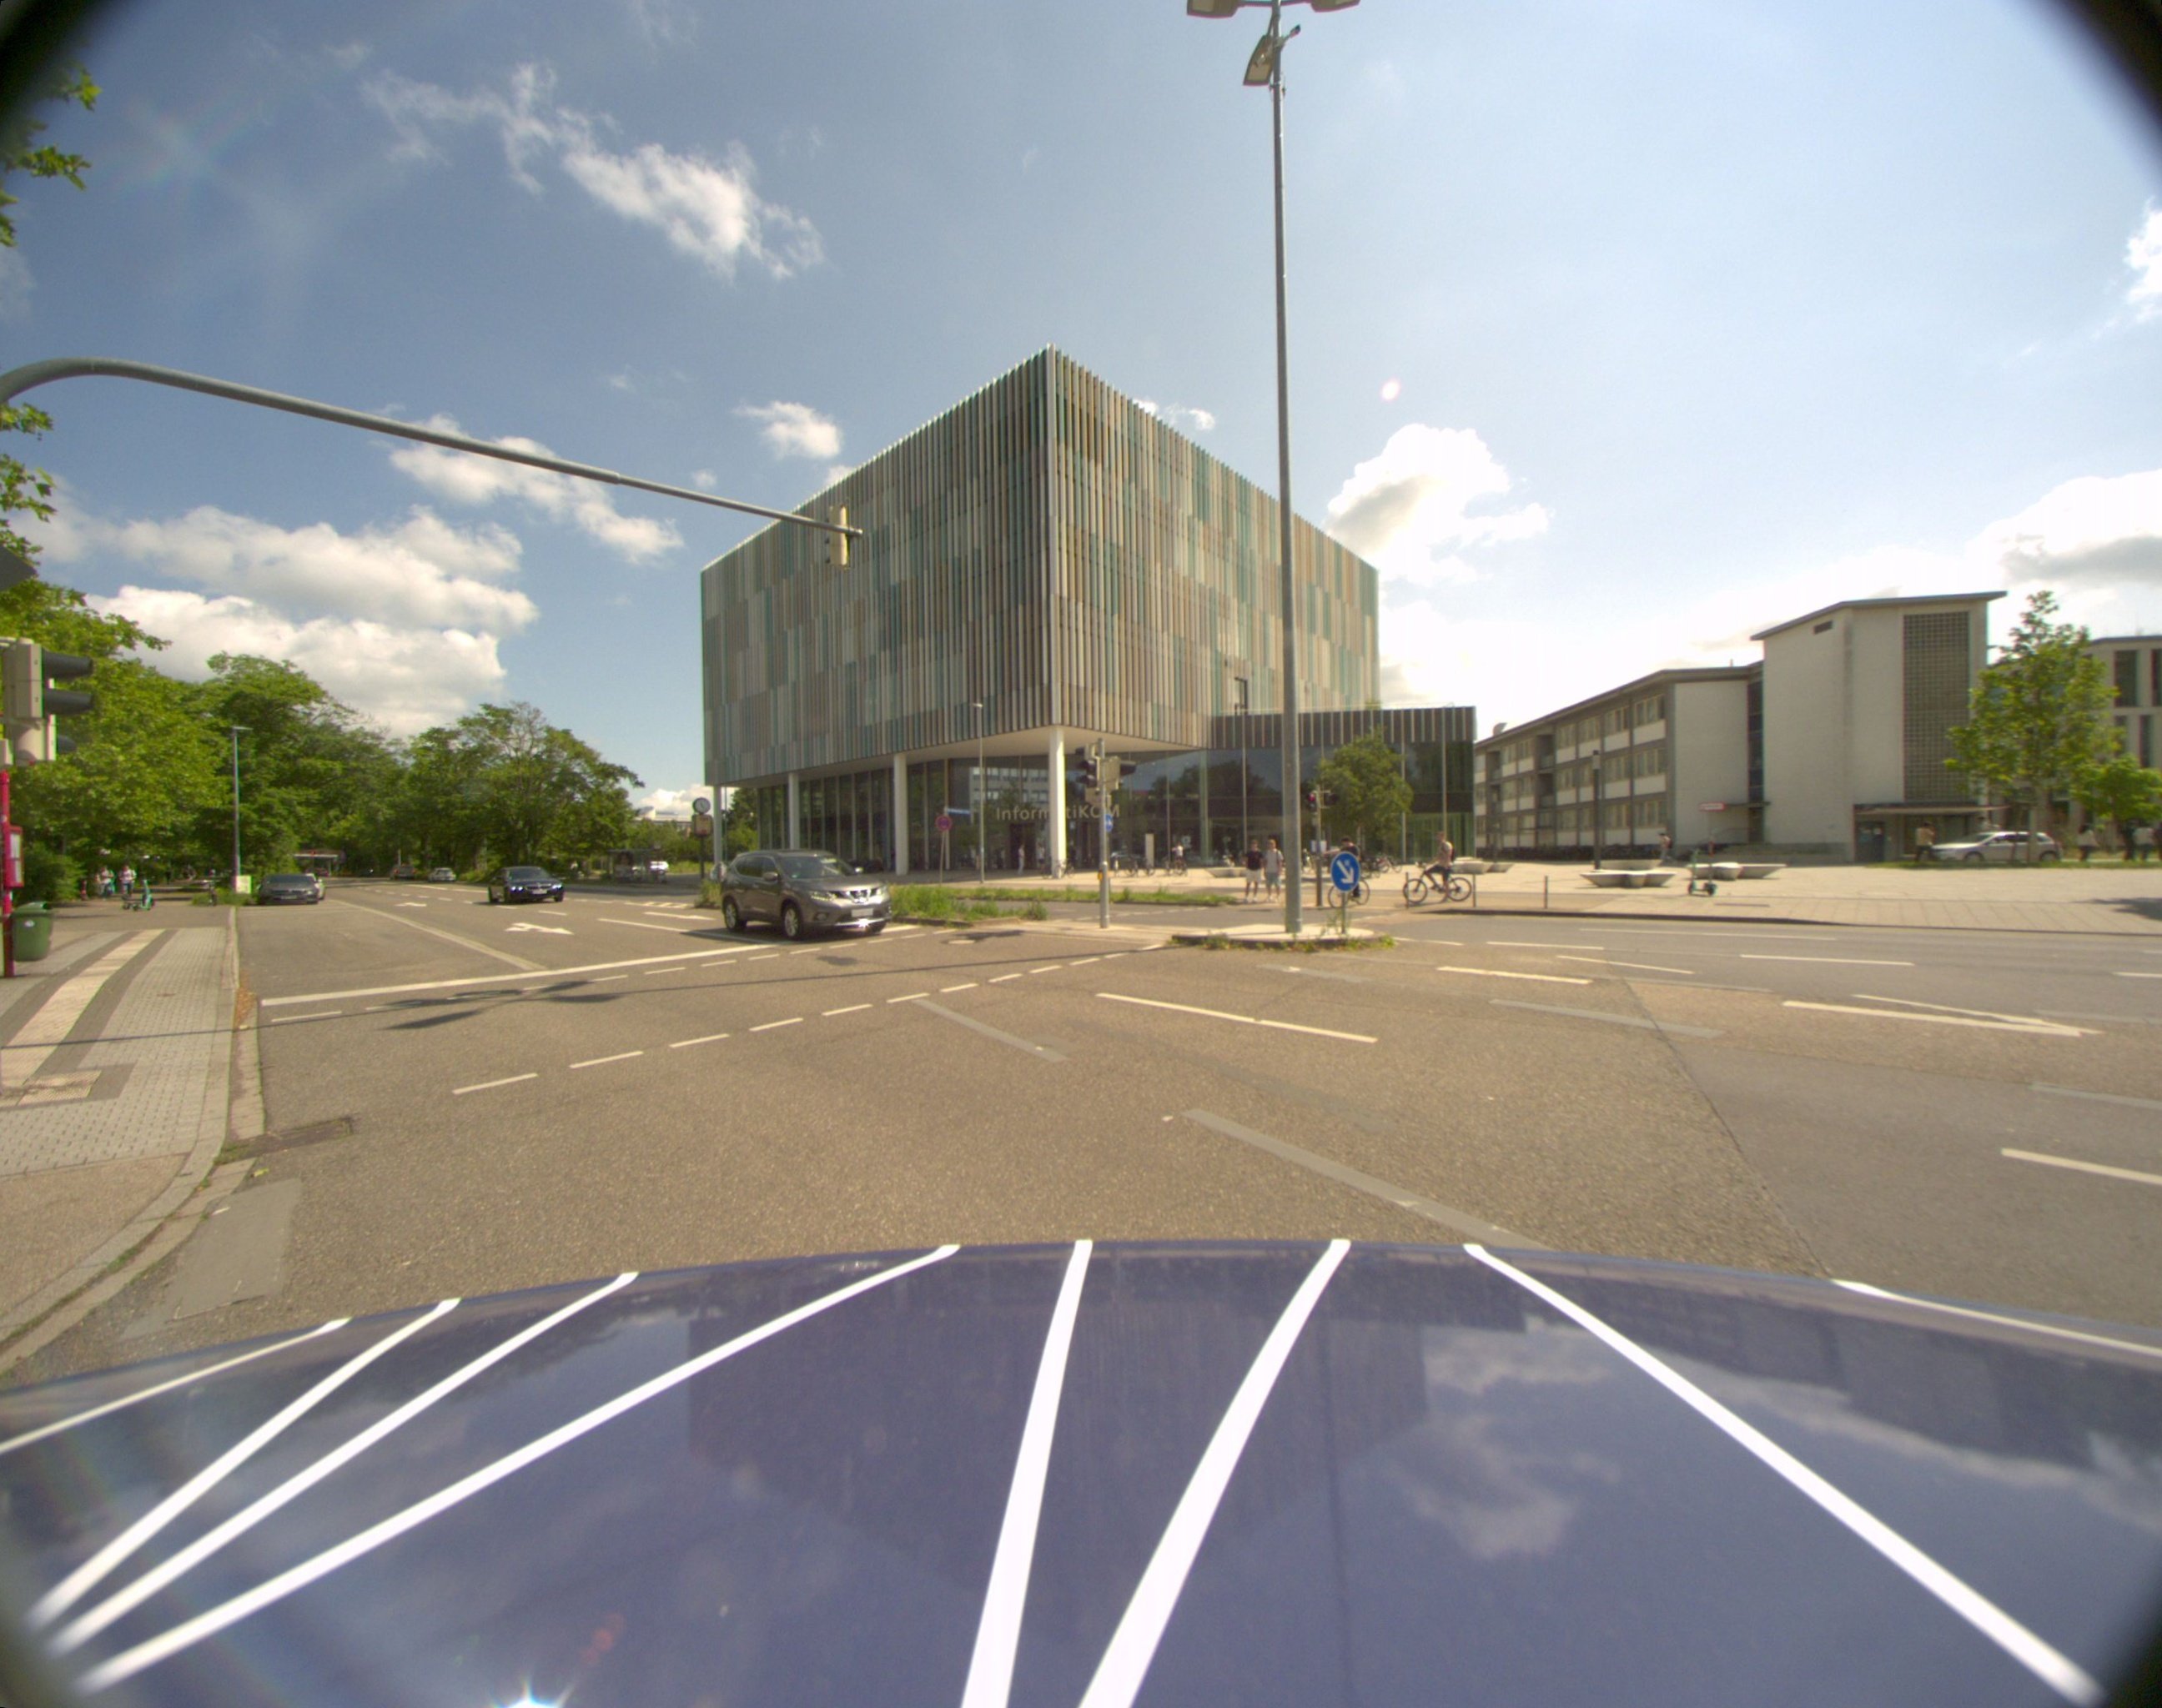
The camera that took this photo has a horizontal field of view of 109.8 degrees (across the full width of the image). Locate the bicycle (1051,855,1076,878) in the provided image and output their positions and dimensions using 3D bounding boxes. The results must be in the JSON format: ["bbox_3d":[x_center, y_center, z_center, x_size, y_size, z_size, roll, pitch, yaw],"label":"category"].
[{"bbox_3d":[-0.909,0.654,40.503,0.372,1.181,1.549,1,3,41],"label":"bicycle"}]

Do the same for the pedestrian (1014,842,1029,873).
[{"bbox_3d":[-3.560,0.212,45.758,0.789,1.831,0.516,-2,2,-13],"label":"pedestrian"}]

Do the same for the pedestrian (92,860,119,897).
[{"bbox_3d":[-47.879,1.205,37.292,0.789,1.771,0.685,0,3,36],"label":"pedestrian"}]

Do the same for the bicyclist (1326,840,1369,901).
[{"bbox_3d":[7.129,0.439,20.331,0.997,1.606,0.658,-1,1,13],"label":"bicyclist"}]

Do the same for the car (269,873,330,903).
[{"bbox_3d":[-39.883,1.693,38.884,1.747,1.442,4.928,1,-1,-41],"label":"car"}]

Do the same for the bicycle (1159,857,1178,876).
[{"bbox_3d":[4.654,0.667,40.159,0.528,0.950,1.776,0,1,22],"label":"bicycle"}]

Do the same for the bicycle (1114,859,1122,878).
[{"bbox_3d":[1.956,0.743,40.058,0.373,0.950,1.546,-1,1,4],"label":"bicycle"}]

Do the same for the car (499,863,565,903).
[{"bbox_3d":[-21.917,1.109,30.284,1.834,1.408,4.179,-2,1,-39],"label":"car"}]

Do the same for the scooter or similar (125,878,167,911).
[{"bbox_3d":[-34.013,1.456,27.670,0.531,1.162,1.571,0,-1,-34],"label":"scooter or similar"}]

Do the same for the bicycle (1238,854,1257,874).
[{"bbox_3d":[8.702,0.515,39.703,0.529,0.950,1.773,-4,1,-1],"label":"bicycle"}]

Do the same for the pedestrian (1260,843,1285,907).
[{"bbox_3d":[5.538,0.604,21.988,0.574,1.831,0.416,0,2,37],"label":"pedestrian"}]

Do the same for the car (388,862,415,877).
[{"bbox_3d":[-84.399,1.886,94.360,4.718,1.801,1.908,-1,0,40],"label":"car"}]

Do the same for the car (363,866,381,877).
[{"bbox_3d":[-110.134,2.716,118.036,1.903,1.502,3.817,-4,3,-42],"label":"car"}]

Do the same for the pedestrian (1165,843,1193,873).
[{"bbox_3d":[5.417,0.224,41.828,1.012,1.641,1.185,0,1,43],"label":"pedestrian"}]

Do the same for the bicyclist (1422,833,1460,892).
[{"bbox_3d":[9.423,0.219,19.908,0.784,1.529,0.658,-1,1,18],"label":"bicyclist"}]

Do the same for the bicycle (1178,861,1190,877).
[{"bbox_3d":[5.439,0.781,39.936,0.528,0.759,1.774,-1,1,10],"label":"bicycle"}]

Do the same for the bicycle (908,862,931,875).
[{"bbox_3d":[-10.741,0.973,50.575,1.549,0.771,0.372,-3,3,-44],"label":"bicycle"}]

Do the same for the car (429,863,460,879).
[{"bbox_3d":[-62.869,1.671,75.071,2.004,1.412,3.988,-2,1,-44],"label":"car"}]

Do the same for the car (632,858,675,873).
[{"bbox_3d":[-49.010,1.346,87.138,3.835,1.502,1.894,-3,3,-42],"label":"car"}]

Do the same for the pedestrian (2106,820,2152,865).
[{"bbox_3d":[41.943,-0.443,30.411,0.844,1.779,0.891,-1,1,-21],"label":"pedestrian"}]

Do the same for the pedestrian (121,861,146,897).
[{"bbox_3d":[-47.570,1.232,38.139,0.789,1.771,0.685,0,3,38],"label":"pedestrian"}]

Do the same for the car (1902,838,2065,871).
[{"bbox_3d":[40.546,-0.006,34.266,4.487,1.299,2.001,-1,2,10],"label":"car"}]

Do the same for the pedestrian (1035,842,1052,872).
[{"bbox_3d":[-2.265,0.177,46.086,0.692,1.831,0.676,-3,2,-40],"label":"pedestrian"}]

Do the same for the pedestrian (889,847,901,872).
[{"bbox_3d":[-13.534,0.416,55.415,0.553,1.831,0.563,0,2,35],"label":"pedestrian"}]

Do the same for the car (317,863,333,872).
[{"bbox_3d":[-141.920,2.561,142.639,1.903,1.502,3.817,-4,3,-42],"label":"car"}]

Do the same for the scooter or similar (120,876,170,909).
[{"bbox_3d":[-35.834,1.472,29.114,0.530,1.239,1.288,0,-1,-14],"label":"scooter or similar"}]

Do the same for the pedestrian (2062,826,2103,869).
[{"bbox_3d":[41.794,-0.270,31.717,0.844,1.779,0.813,-1,1,-19],"label":"pedestrian"}]

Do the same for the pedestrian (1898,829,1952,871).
[{"bbox_3d":[33.792,-0.159,30.422,1.328,1.641,1.296,-1,1,-35],"label":"pedestrian"}]

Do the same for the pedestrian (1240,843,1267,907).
[{"bbox_3d":[5.022,0.591,22.111,0.631,1.831,0.480,0,2,28],"label":"pedestrian"}]

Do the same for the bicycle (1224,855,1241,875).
[{"bbox_3d":[7.880,0.560,39.596,0.529,0.950,1.773,-1,2,-1],"label":"bicycle"}]

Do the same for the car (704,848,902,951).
[{"bbox_3d":[-5.589,0.793,14.965,4.465,1.669,1.828,-1,2,44],"label":"car"}]

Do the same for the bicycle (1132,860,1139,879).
[{"bbox_3d":[2.895,0.817,40.545,0.373,0.950,1.773,-1,1,4],"label":"bicycle"}]

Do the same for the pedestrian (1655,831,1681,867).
[{"bbox_3d":[29.389,-0.266,38.041,0.842,1.779,0.678,-1,1,12],"label":"pedestrian"}]

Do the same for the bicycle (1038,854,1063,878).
[{"bbox_3d":[-1.625,0.625,40.783,0.372,1.180,1.549,1,3,41],"label":"bicycle"}]

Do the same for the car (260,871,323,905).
[{"bbox_3d":[-36.355,1.526,34.961,4.928,1.469,1.867,-2,-2,42],"label":"car"}]

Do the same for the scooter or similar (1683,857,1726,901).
[{"bbox_3d":[15.688,0.613,19.135,0.402,1.060,1.152,-1,1,15],"label":"scooter or similar"}]

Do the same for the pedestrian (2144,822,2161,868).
[{"bbox_3d":[42.226,-0.337,29.535,0.844,1.779,0.864,-1,1,-21],"label":"pedestrian"}]
